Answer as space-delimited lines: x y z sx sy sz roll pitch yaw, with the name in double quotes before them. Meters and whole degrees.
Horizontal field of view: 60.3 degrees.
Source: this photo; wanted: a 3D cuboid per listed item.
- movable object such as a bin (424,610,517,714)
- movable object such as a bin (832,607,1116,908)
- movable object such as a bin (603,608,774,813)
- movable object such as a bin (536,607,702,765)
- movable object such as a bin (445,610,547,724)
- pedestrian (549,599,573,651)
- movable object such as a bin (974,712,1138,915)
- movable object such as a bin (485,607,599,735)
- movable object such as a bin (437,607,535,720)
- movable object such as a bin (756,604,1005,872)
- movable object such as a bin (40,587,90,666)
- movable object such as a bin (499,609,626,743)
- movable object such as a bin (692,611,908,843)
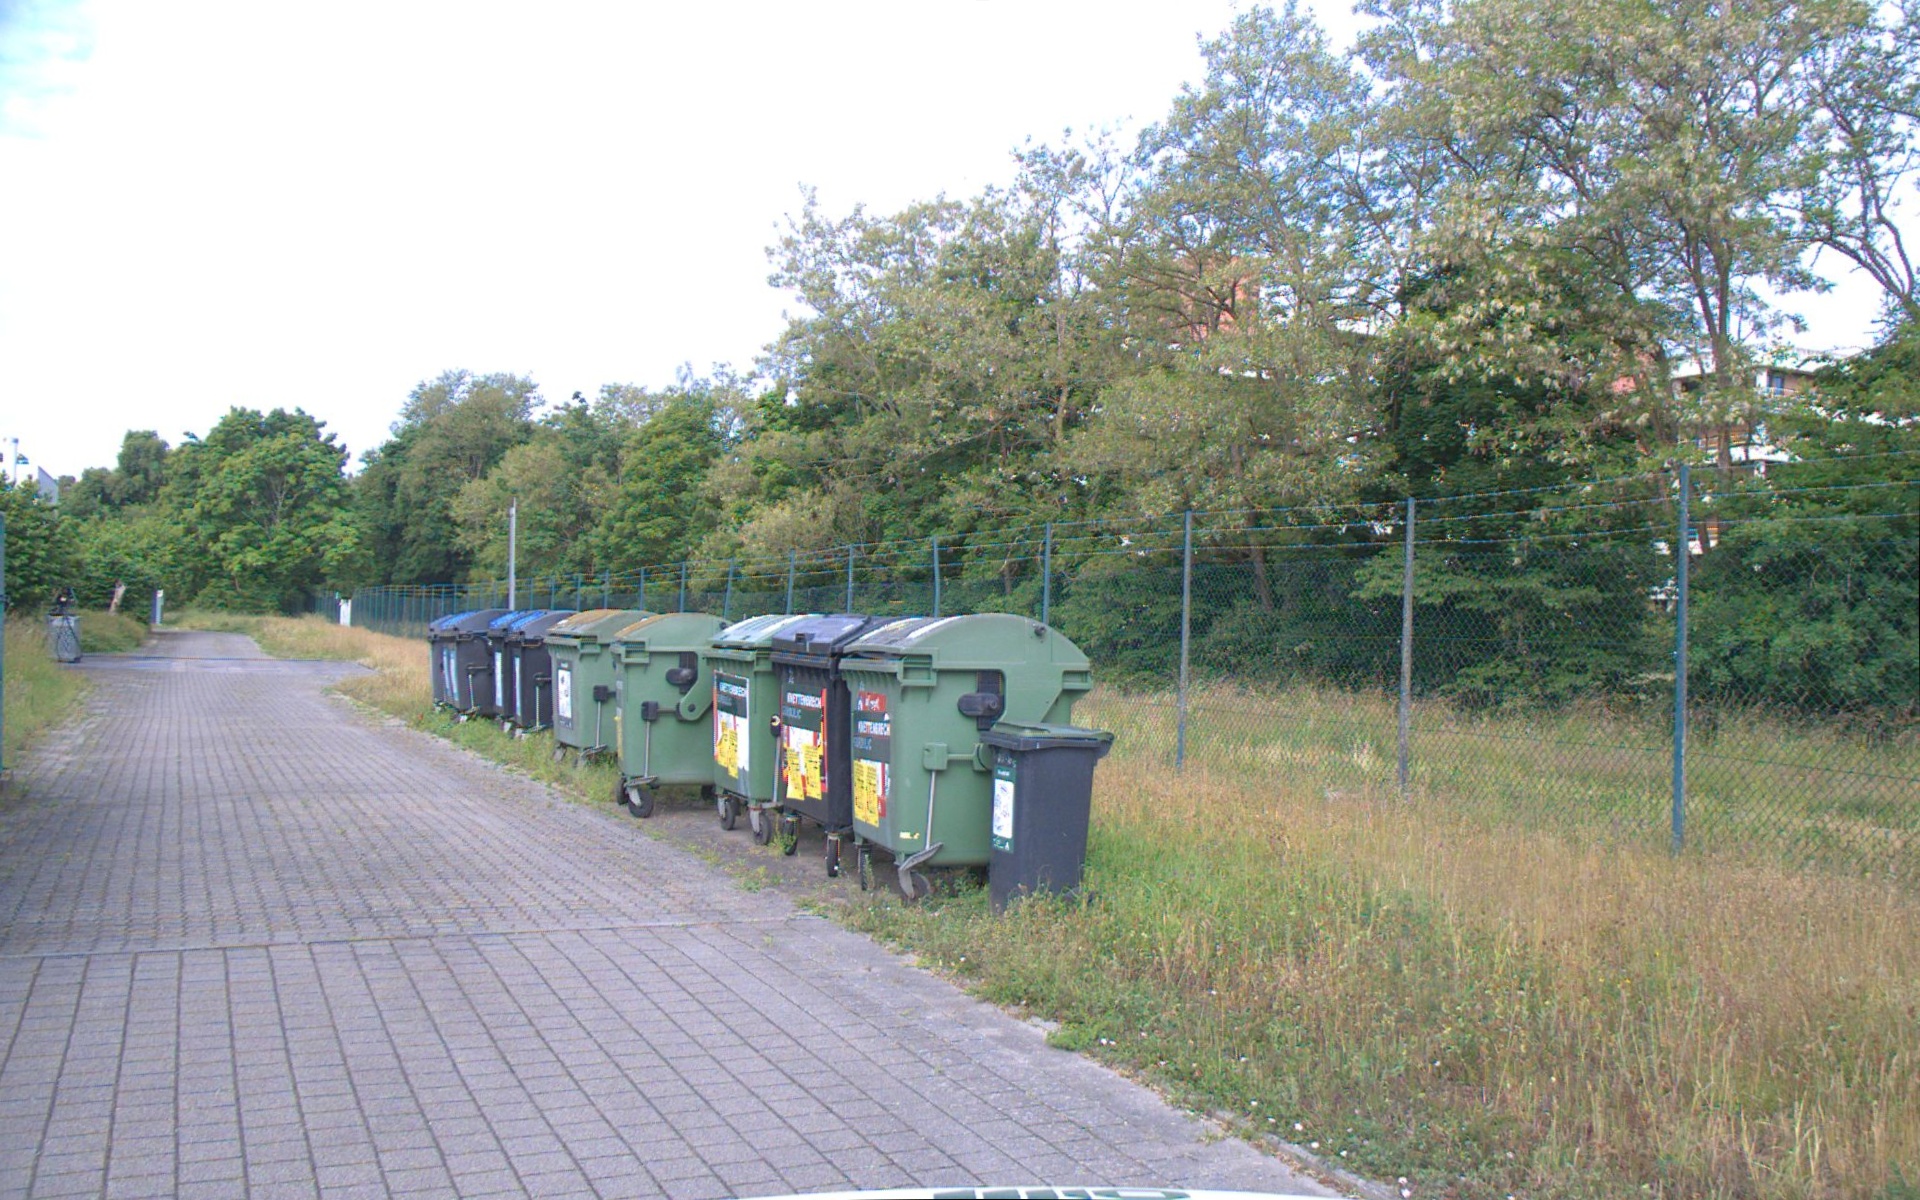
"movable object such as a bin" -6.781 0.851 22.871 1.106 1.374 1.417 2 -2 -20
"movable object such as a bin" 0.033 0.777 8.636 1.110 1.420 1.350 2 -2 -17
"movable object such as a bin" -2.051 0.804 12.341 1.104 1.423 1.379 2 -2 -15
"movable object such as a bin" -3.051 0.751 14.716 1.109 1.319 1.368 2 -2 -26
"movable object such as a bin" -5.723 0.814 20.355 1.106 1.345 1.317 1 -1 -20
"pedestrian" -15.943 0.992 66.080 0.750 2.049 0.658 2 -1 -27
"movable object such as a bin" 0.440 0.983 7.759 0.590 0.881 0.583 2 -2 -17
"movable object such as a bin" -4.852 0.811 19.120 1.106 1.398 1.485 2 -2 -20
"movable object such as a bin" -6.193 0.819 21.562 1.106 1.403 1.317 2 -2 -20
"movable object such as a bin" -0.505 0.786 9.873 1.054 1.460 1.388 2 -2 -23
"movable object such as a bin" -23.082 0.680 42.681 0.920 2.017 0.849 1 -1 -17
"movable object such as a bin" -4.263 0.805 17.662 1.137 1.348 1.485 2 -2 -20
"movable object such as a bin" -1.098 0.818 11.054 1.054 1.430 1.375 2 -2 -23
